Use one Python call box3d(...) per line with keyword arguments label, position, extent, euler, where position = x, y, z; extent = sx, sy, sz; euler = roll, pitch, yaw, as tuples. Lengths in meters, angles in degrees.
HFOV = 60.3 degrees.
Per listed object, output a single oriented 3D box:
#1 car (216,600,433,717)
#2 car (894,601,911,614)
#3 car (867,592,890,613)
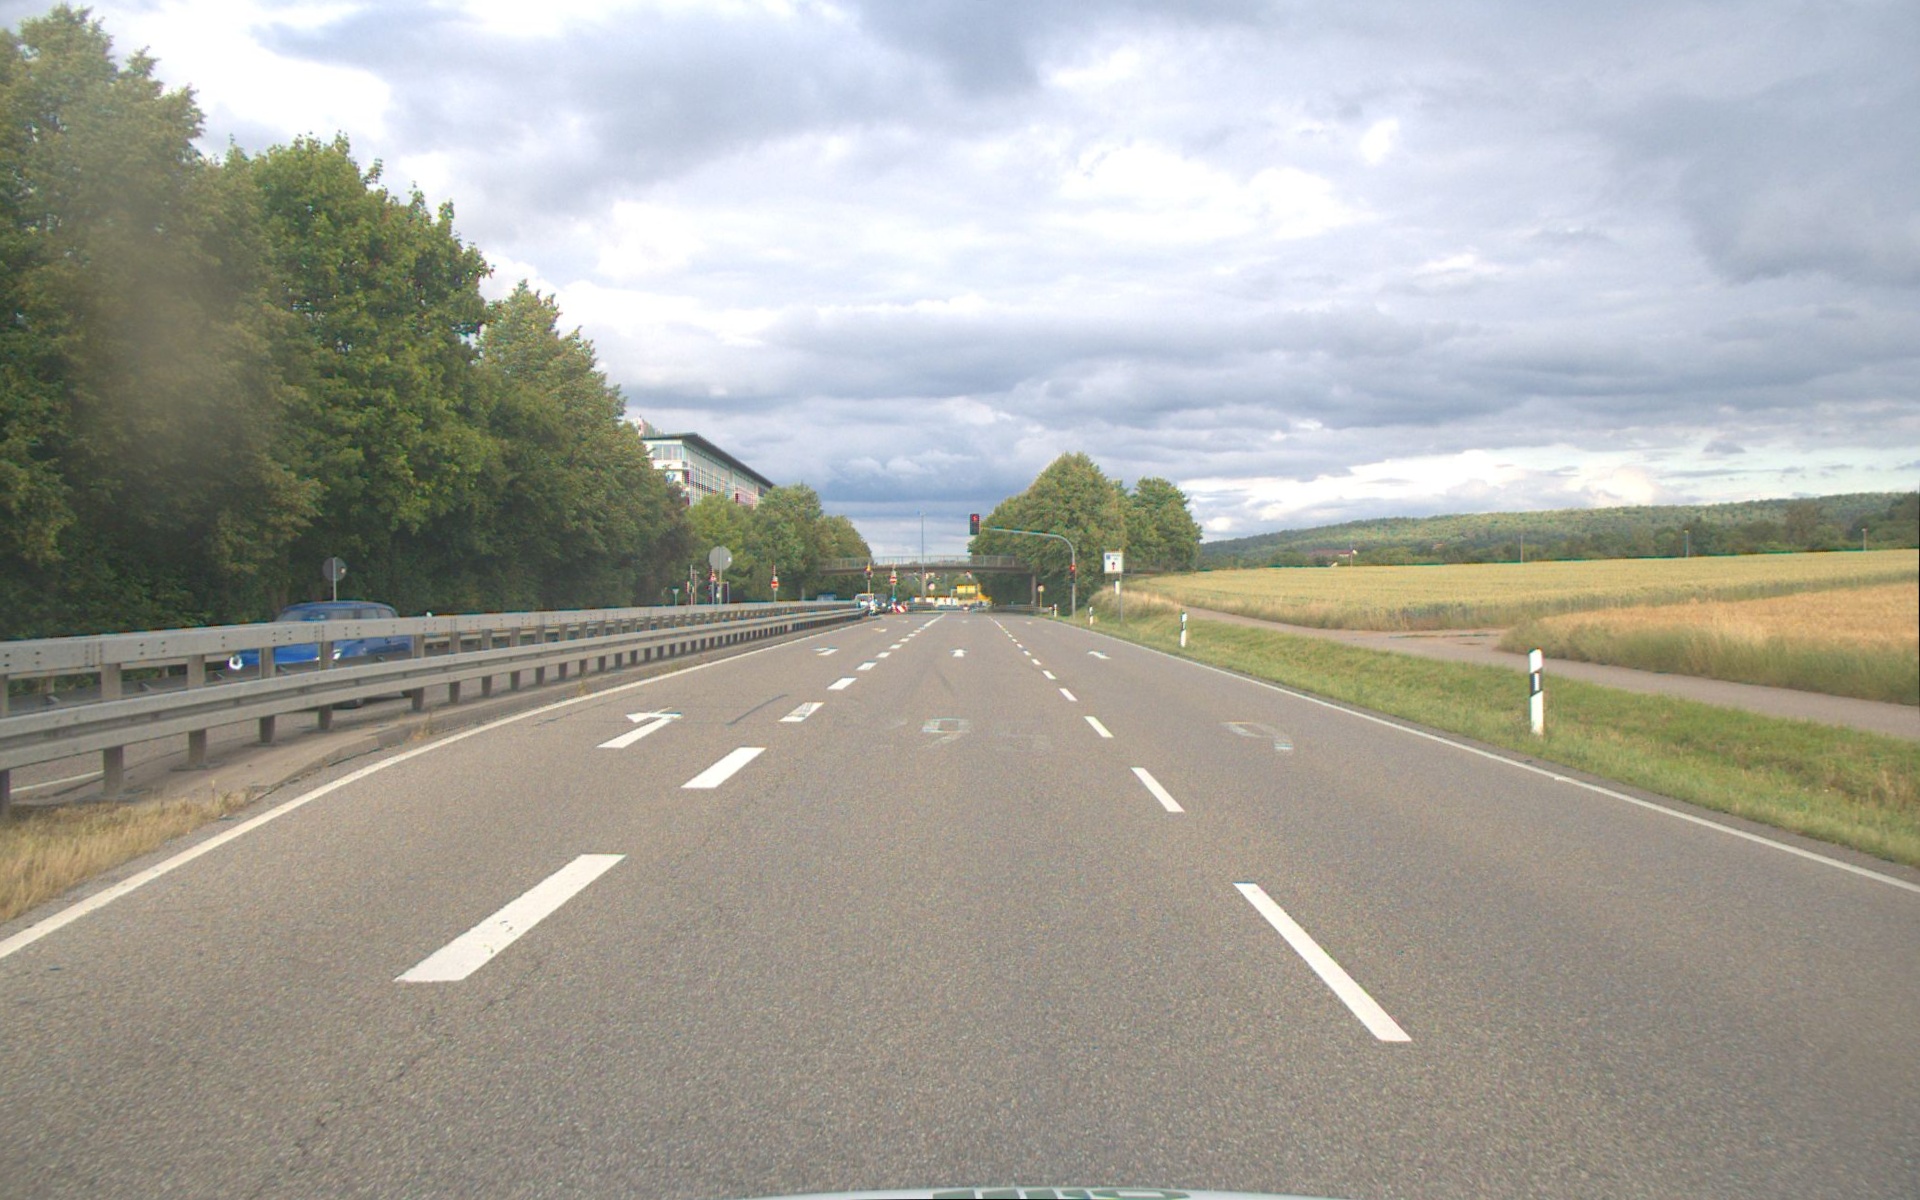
box3d(label="car", position=(-9.140, 0.793, 24.112), extent=(1.733, 1.493, 3.712), euler=(-1, 1, 0))
box3d(label="car", position=(-4.922, 0.634, 141.404), extent=(1.329, 1.111, 2.922), euler=(0, 1, 1))
box3d(label="car", position=(-7.761, 0.251, 157.833), extent=(1.953, 1.906, 4.737), euler=(0, 1, 0))
